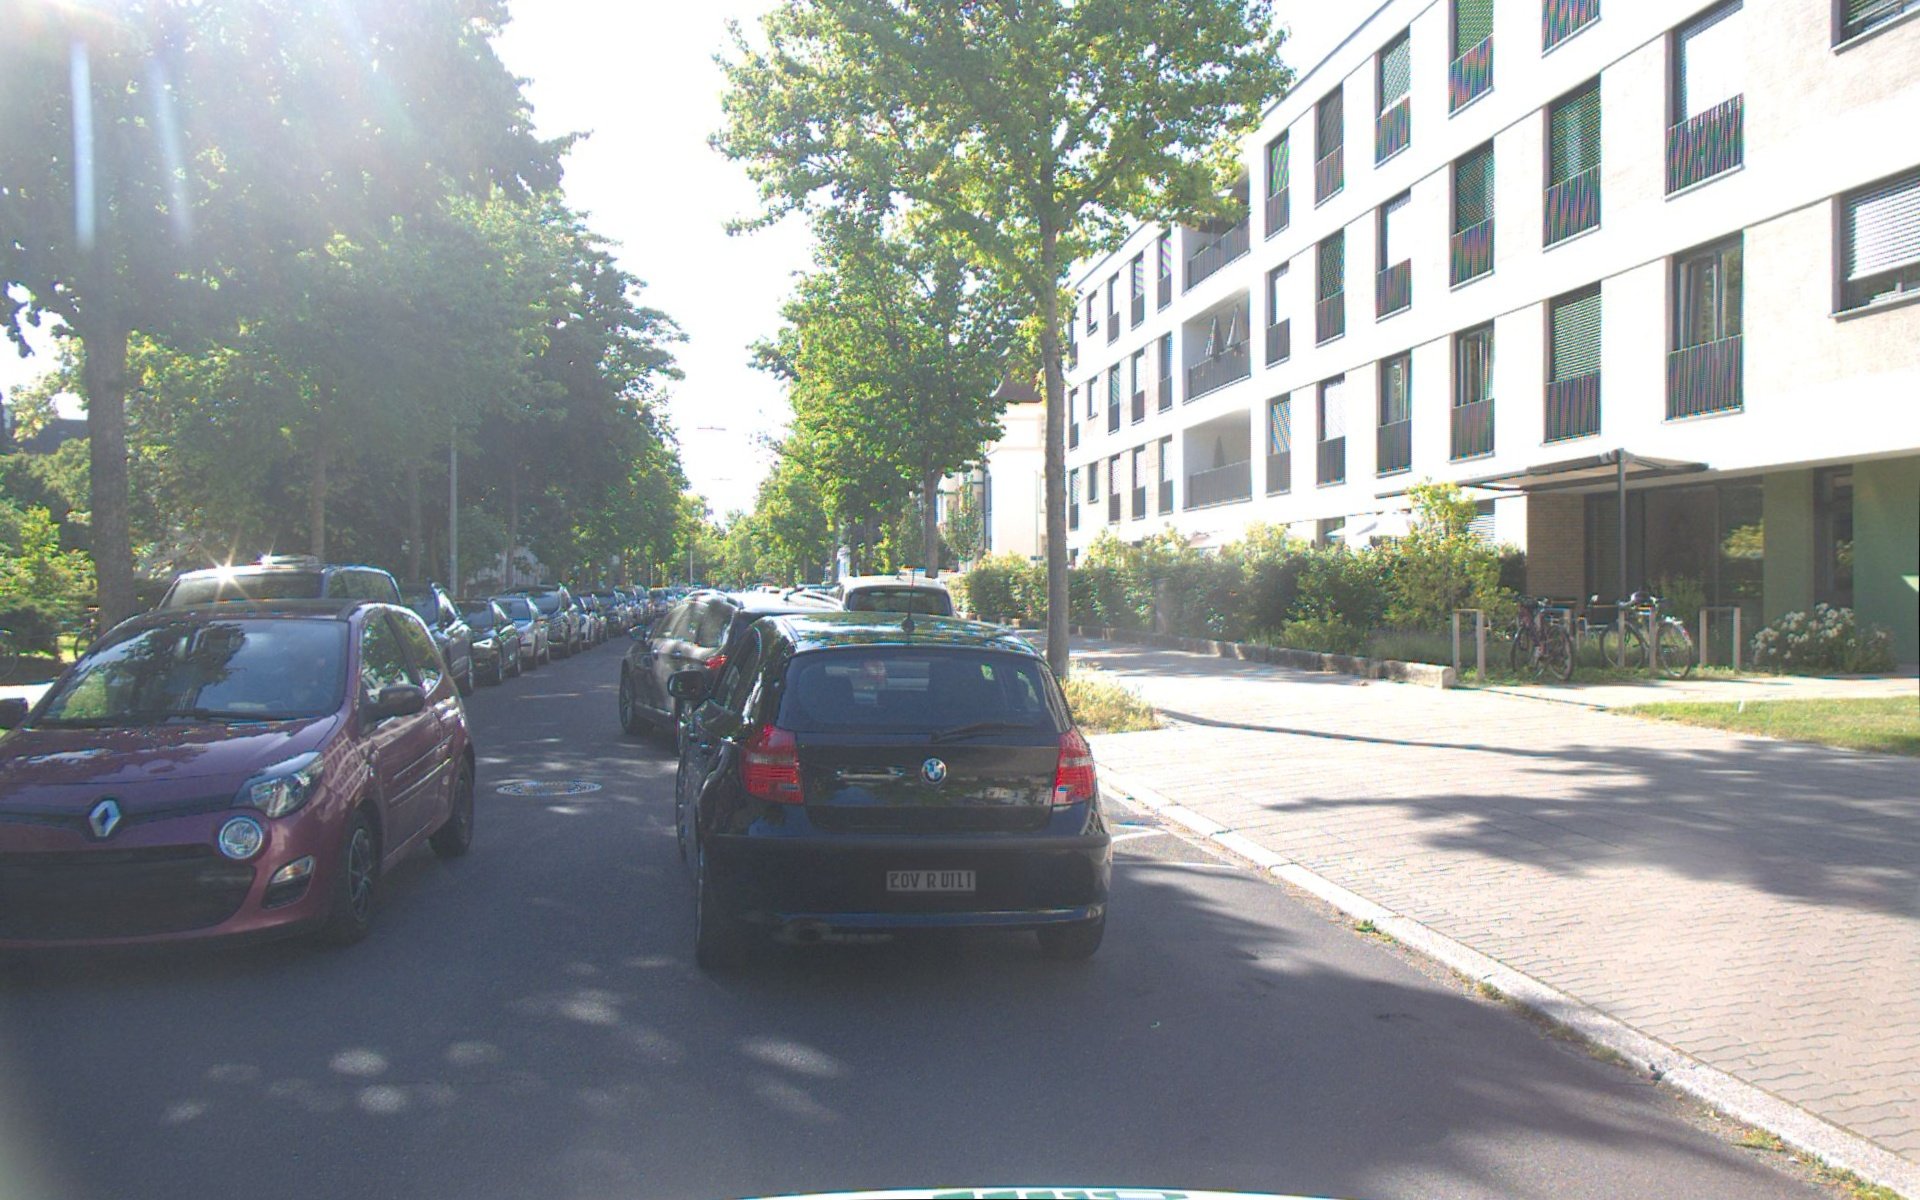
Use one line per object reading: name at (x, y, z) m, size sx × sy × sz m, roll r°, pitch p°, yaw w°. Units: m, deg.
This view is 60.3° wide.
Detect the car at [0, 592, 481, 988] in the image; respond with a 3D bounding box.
car at (-3.345, 0.714, 7.897) m, size 1.476 × 1.451 × 3.173 m, roll -1°, pitch 1°, yaw -6°

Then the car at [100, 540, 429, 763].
car at (-7.078, 0.439, 17.468) m, size 1.792 × 1.937 × 5.134 m, roll -2°, pitch 1°, yaw -7°

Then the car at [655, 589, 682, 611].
car at (-19.102, -0.010, 108.573) m, size 1.582 × 1.416 × 3.858 m, roll -1°, pitch 1°, yaw -8°

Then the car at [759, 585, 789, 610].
car at (-11.461, -0.173, 101.984) m, size 1.687 × 1.506 × 3.847 m, roll -1°, pitch 1°, yaw -5°

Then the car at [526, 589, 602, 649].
car at (-10.576, 0.483, 44.379) m, size 1.582 × 1.478 × 3.858 m, roll -2°, pitch 1°, yaw -8°

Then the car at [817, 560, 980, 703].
car at (-0.904, 0.370, 21.469) m, size 1.812 × 1.659 × 4.404 m, roll 0°, pitch 0°, yaw -6°

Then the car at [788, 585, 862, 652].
car at (-3.421, 0.427, 41.410) m, size 1.688 × 1.555 × 3.994 m, roll 2°, pitch 0°, yaw -7°

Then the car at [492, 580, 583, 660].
car at (-9.833, 0.421, 38.733) m, size 1.582 × 1.708 × 4.226 m, roll -2°, pitch 1°, yaw -8°

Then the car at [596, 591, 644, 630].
car at (-13.348, 0.386, 65.139) m, size 1.582 × 1.416 × 3.858 m, roll -2°, pitch 1°, yaw -8°

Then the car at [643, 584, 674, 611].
car at (-17.191, -0.159, 94.472) m, size 1.582 × 1.416 × 3.858 m, roll -2°, pitch 1°, yaw -8°

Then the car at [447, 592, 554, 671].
car at (-9.194, 0.590, 33.339) m, size 1.582 × 1.452 × 3.718 m, roll -2°, pitch 1°, yaw -8°

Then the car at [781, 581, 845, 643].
car at (-4.238, 0.324, 47.352) m, size 1.688 × 1.669 × 3.845 m, roll 2°, pitch 0°, yaw -7°

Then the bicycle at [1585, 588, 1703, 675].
bicycle at (8.857, 0.387, 21.487) m, size 0.536 × 1.073 × 1.775 m, roll -2°, pitch 0°, yaw -10°

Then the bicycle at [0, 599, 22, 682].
bicycle at (-15.416, 0.633, 24.924) m, size 2.112 × 1.230 × 0.686 m, roll -1°, pitch 1°, yaw -19°

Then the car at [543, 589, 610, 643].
car at (-11.300, 0.427, 48.925) m, size 1.582 × 1.478 × 3.858 m, roll -2°, pitch 1°, yaw -8°

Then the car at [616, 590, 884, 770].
car at (-2.134, 0.647, 15.816) m, size 1.626 × 1.450 × 3.976 m, roll -1°, pitch 1°, yaw -21°

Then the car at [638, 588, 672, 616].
car at (-16.410, 0.073, 89.114) m, size 1.582 × 1.416 × 3.858 m, roll -2°, pitch 1°, yaw -8°

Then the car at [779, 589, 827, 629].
car at (-5.933, 0.312, 62.355) m, size 1.688 × 1.403 × 3.845 m, roll 2°, pitch 0°, yaw -7°

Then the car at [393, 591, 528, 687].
car at (-8.466, 0.607, 28.306) m, size 1.582 × 1.452 × 4.050 m, roll -2°, pitch 1°, yaw -8°

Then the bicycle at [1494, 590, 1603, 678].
bicycle at (7.538, 0.411, 21.256) m, size 0.536 × 1.073 × 1.687 m, roll -2°, pitch 0°, yaw -10°

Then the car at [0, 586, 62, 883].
car at (-5.629, 0.760, 7.084) m, size 1.479 × 1.575 × 4.769 m, roll -3°, pitch 1°, yaw -8°

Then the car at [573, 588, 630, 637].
car at (-12.062, 0.391, 55.786) m, size 1.582 × 1.570 × 3.858 m, roll -2°, pitch 1°, yaw -8°

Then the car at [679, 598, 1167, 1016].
car at (-0.389, 0.734, 7.721) m, size 1.621 × 1.421 × 3.400 m, roll -1°, pitch 1°, yaw -13°

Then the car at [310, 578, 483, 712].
car at (-7.740, 0.548, 23.056) m, size 1.583 × 1.639 × 4.220 m, roll -2°, pitch 1°, yaw -10°
